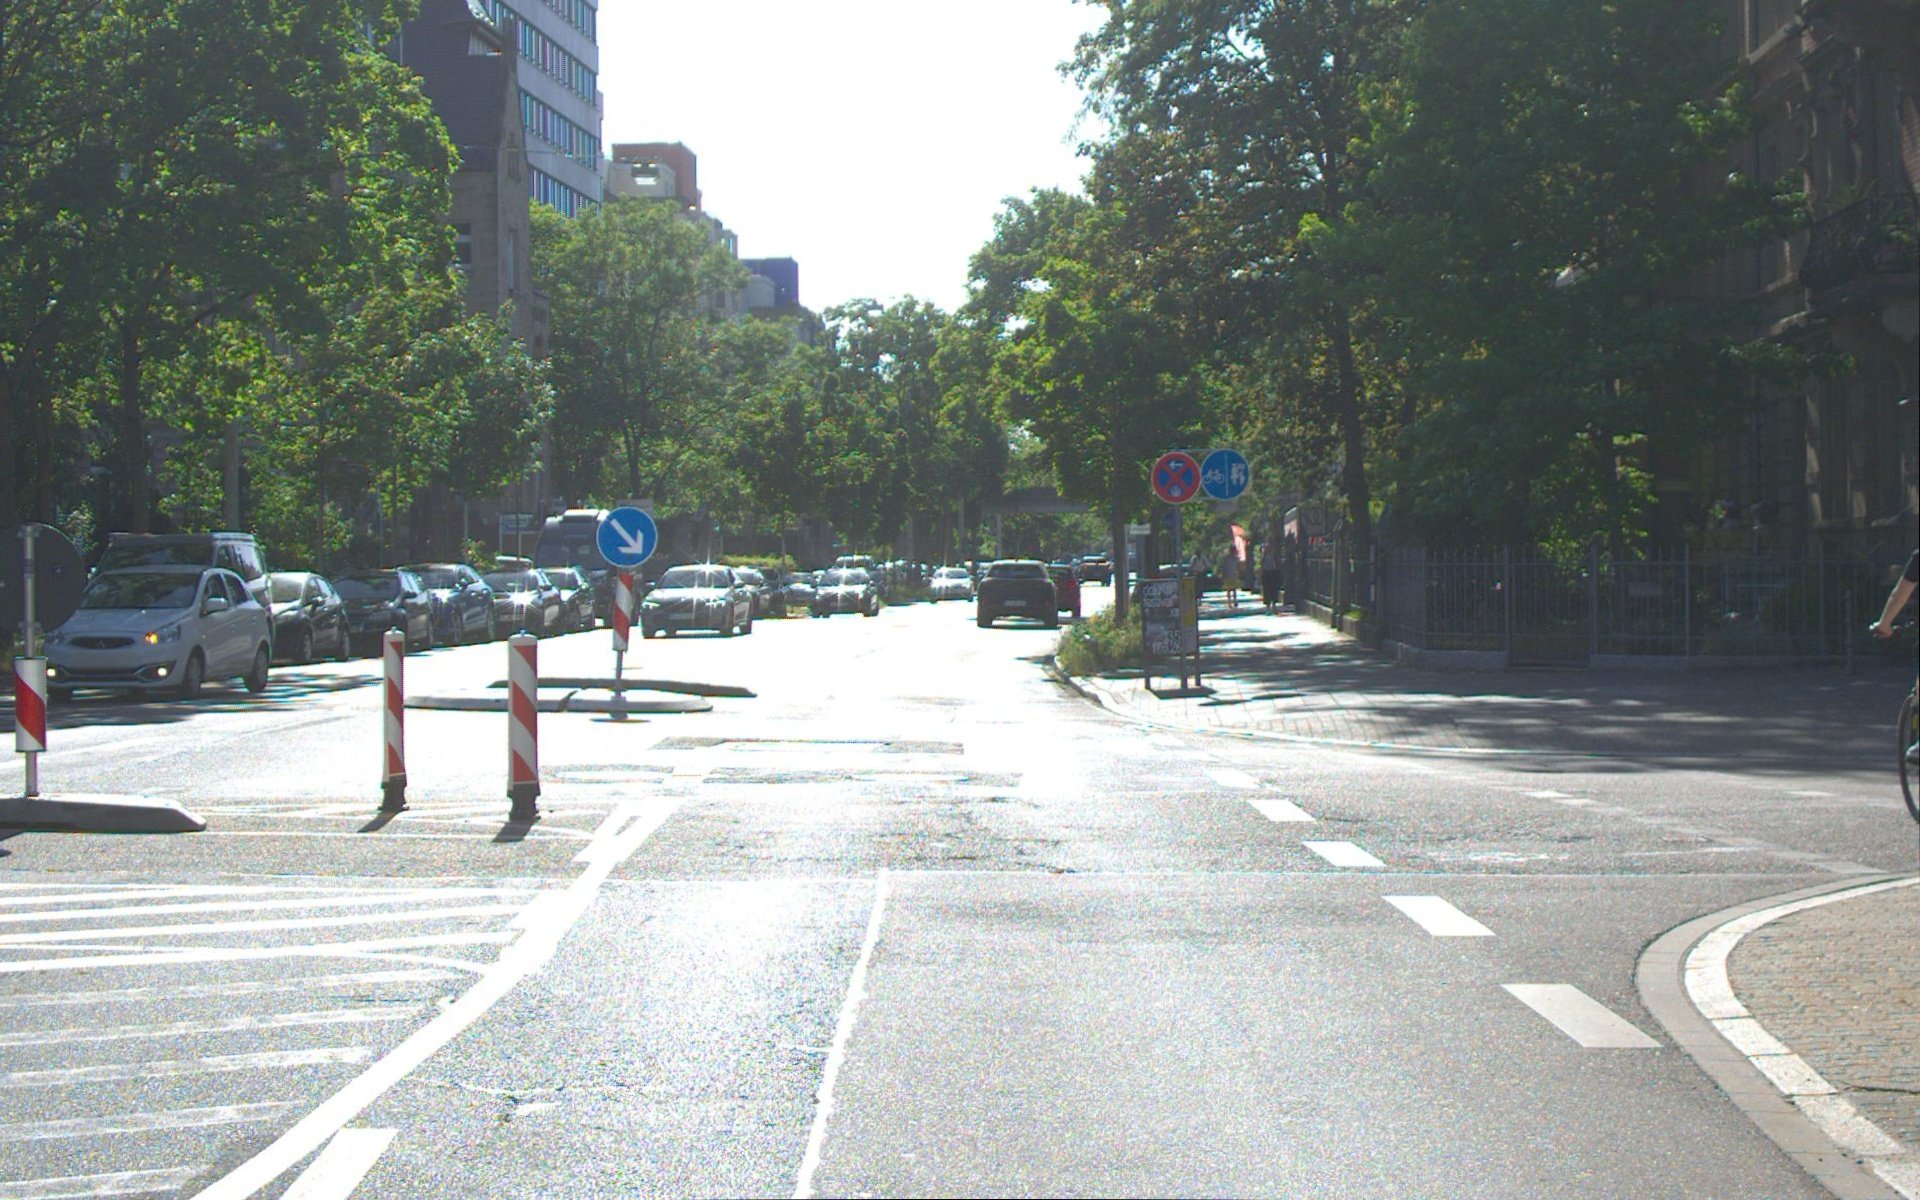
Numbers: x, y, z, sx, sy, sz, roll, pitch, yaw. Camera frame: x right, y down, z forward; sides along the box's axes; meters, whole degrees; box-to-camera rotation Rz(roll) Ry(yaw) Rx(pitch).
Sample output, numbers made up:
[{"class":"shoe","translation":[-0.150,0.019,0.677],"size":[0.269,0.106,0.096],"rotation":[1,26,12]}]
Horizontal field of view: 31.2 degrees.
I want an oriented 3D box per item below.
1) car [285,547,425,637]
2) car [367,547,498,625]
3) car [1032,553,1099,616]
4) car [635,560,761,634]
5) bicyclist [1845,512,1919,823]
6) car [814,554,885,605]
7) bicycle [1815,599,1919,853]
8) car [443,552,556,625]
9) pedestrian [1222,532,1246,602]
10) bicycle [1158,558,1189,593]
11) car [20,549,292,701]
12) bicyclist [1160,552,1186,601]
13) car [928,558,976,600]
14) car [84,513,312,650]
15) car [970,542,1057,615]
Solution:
[{"class":"car","translation":[-10.512,-0.116,59.916],"size":[1.524,1.428,3.336],"rotation":[1,-2,6]},{"class":"car","translation":[-10.013,-0.291,65.438],"size":[1.524,1.427,3.553],"rotation":[0,1,8]},{"class":"car","translation":[3.019,-0.457,97.694],"size":[1.819,1.734,4.000],"rotation":[0,1,3]},{"class":"car","translation":[-5.334,-0.053,70.418],"size":[1.784,1.455,4.414],"rotation":[1,0,6]},{"class":"bicyclist","translation":[5.185,0.335,18.084],"size":[0.741,1.574,1.100],"rotation":[1,2,0]},{"class":"car","translation":[-3.334,-0.637,104.246],"size":[1.639,1.514,4.030],"rotation":[0,1,6]},{"class":"bicycle","translation":[5.137,0.625,18.115],"size":[0.741,1.215,1.960],"rotation":[-2,1,0]},{"class":"car","translation":[-9.292,-0.241,69.523],"size":[1.524,1.427,3.336],"rotation":[0,1,6]},{"class":"pedestrian","translation":[7.827,-0.946,98.246],"size":[0.614,2.007,0.681],"rotation":[0,1,-1]},{"class":"bicycle","translation":[5.941,-0.687,95.778],"size":[0.675,0.935,2.281],"rotation":[0,-1,-1]},{"class":"car","translation":[-8.940,0.242,38.519],"size":[1.759,1.514,3.859],"rotation":[-1,2,6]},{"class":"bicyclist","translation":[5.934,-0.651,95.867],"size":[0.680,1.323,0.636],"rotation":[1,-2,-1]},{"class":"car","translation":[-0.348,-0.854,142.004],"size":[1.935,1.514,4.030],"rotation":[1,-2,0]},{"class":"car","translation":[-11.176,-0.301,50.793],"size":[2.198,1.923,4.862],"rotation":[0,1,1]},{"class":"car","translation":[1.215,-0.515,79.603],"size":[1.894,1.514,4.000],"rotation":[2,2,0]}]
